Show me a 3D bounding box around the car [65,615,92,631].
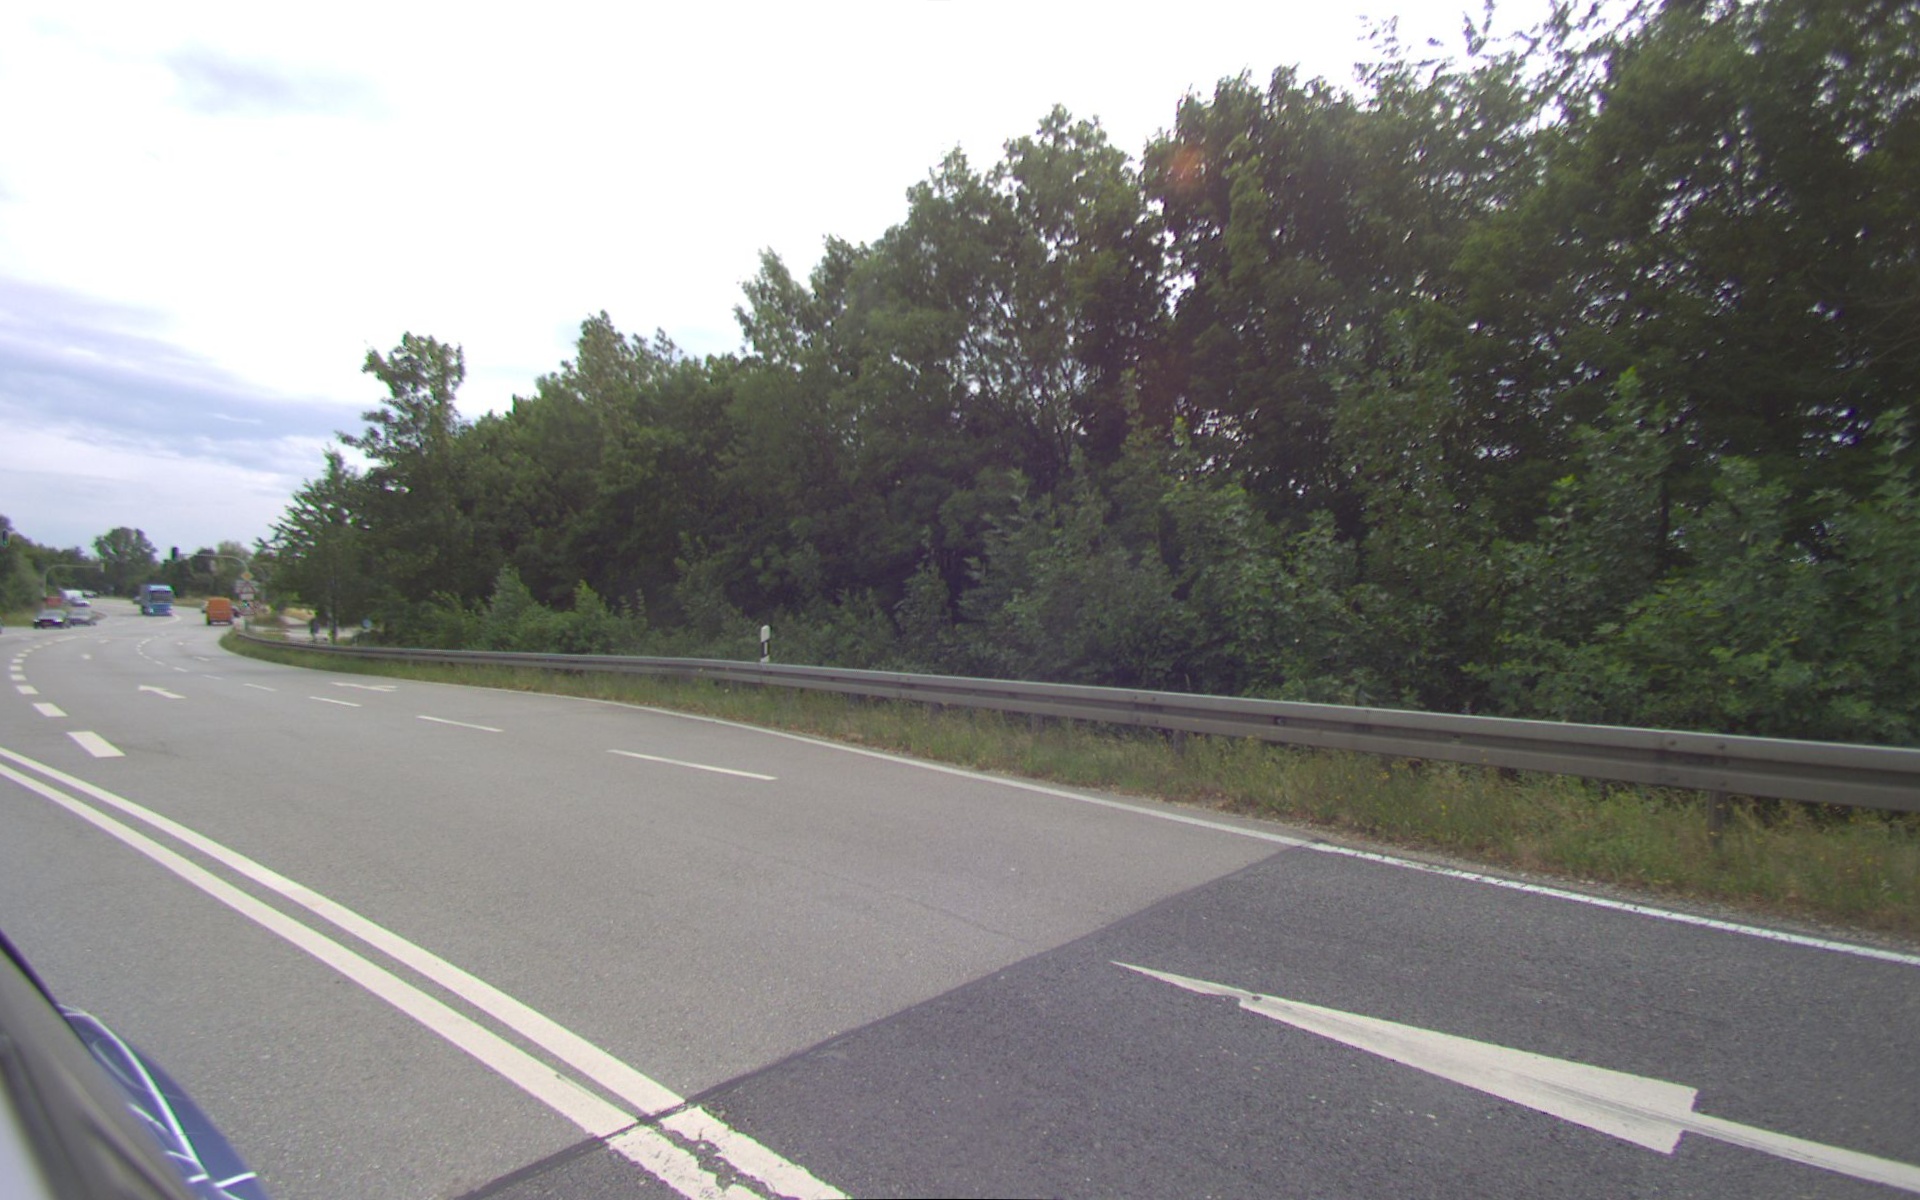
[{"bbox_3d":[-81.742,2.107,93.901,1.718,1.335,4.006,6,-4,-40],"label":"car"}]

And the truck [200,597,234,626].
[{"bbox_3d":[-73.518,1.182,100.188,2.284,2.621,6.039,4,-3,-33],"label":"truck"}]

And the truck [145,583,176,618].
[{"bbox_3d":[-108.159,0.099,136.912,2.980,4.383,9.589,3,-2,-39],"label":"truck"}]

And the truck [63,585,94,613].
[{"bbox_3d":[-146.217,-0.149,167.786,9.574,4.383,2.985,0,-2,44],"label":"truck"}]

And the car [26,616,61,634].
[{"bbox_3d":[-74.451,2.032,82.283,1.717,1.335,4.008,6,-4,-38],"label":"car"}]

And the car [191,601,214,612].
[{"bbox_3d":[-110.991,0.926,148.245,4.000,1.582,1.895,0,-2,42],"label":"car"}]

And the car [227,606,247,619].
[{"bbox_3d":[-92.073,1.624,128.850,1.695,1.509,4.556,4,-4,-38],"label":"car"}]

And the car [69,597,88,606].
[{"bbox_3d":[-172.599,0.294,198.231,3.989,1.396,1.726,3,-4,33],"label":"car"}]
